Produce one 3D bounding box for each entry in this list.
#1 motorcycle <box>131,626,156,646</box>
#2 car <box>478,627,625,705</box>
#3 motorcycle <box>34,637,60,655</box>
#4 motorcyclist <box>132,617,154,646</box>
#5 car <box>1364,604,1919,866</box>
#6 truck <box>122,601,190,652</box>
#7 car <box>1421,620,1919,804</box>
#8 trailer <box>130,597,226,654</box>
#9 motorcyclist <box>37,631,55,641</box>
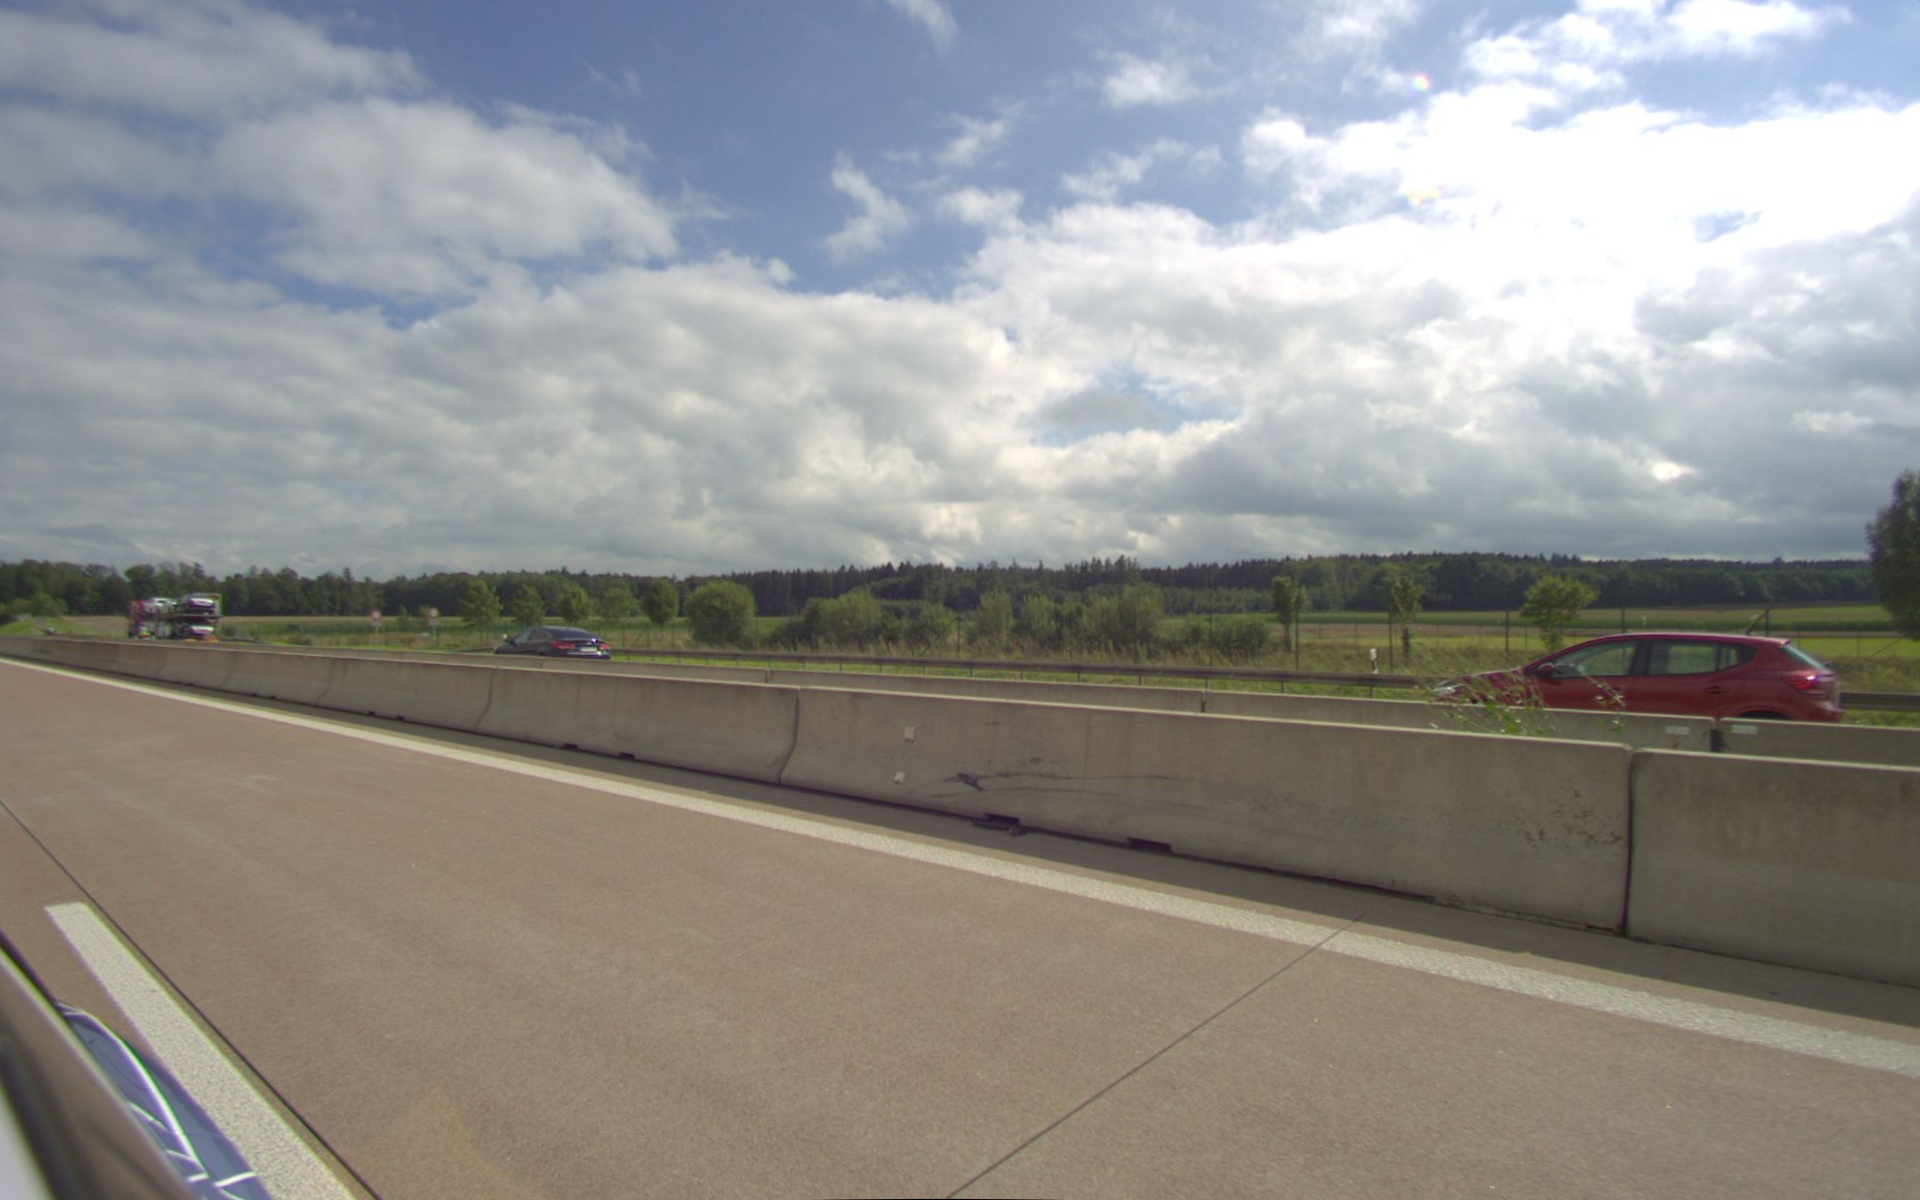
[{"bbox_3d":[-54.026,2.376,66.937,2.342,1.313,0.917,-2,0,42],"label":"motorcycle"},{"bbox_3d":[-12.167,1.859,29.960,5.049,2.029,1.965,-1,0,41],"label":"car"},{"bbox_3d":[-86.701,4.351,96.105,2.840,1.554,1.537,-2,0,42],"label":"motorcycle"},{"bbox_3d":[-54.073,2.091,66.968,0.743,1.875,0.999,-1,0,41],"label":"motorcyclist"},{"bbox_3d":[3.913,0.634,5.746,2.756,1.160,1.210,-2,0,41],"label":"car"},{"bbox_3d":[-66.670,2.141,83.861,7.728,4.008,3.160,-2,0,42],"label":"truck"},{"bbox_3d":[7.991,1.105,11.672,4.488,1.675,1.952,-1,0,41],"label":"car"},{"bbox_3d":[-61.014,1.970,78.711,16.322,4.008,3.160,-2,0,42],"label":"trailer"},{"bbox_3d":[-86.583,3.397,95.895,0.839,0.956,1.173,-2,0,41],"label":"motorcyclist"}]
